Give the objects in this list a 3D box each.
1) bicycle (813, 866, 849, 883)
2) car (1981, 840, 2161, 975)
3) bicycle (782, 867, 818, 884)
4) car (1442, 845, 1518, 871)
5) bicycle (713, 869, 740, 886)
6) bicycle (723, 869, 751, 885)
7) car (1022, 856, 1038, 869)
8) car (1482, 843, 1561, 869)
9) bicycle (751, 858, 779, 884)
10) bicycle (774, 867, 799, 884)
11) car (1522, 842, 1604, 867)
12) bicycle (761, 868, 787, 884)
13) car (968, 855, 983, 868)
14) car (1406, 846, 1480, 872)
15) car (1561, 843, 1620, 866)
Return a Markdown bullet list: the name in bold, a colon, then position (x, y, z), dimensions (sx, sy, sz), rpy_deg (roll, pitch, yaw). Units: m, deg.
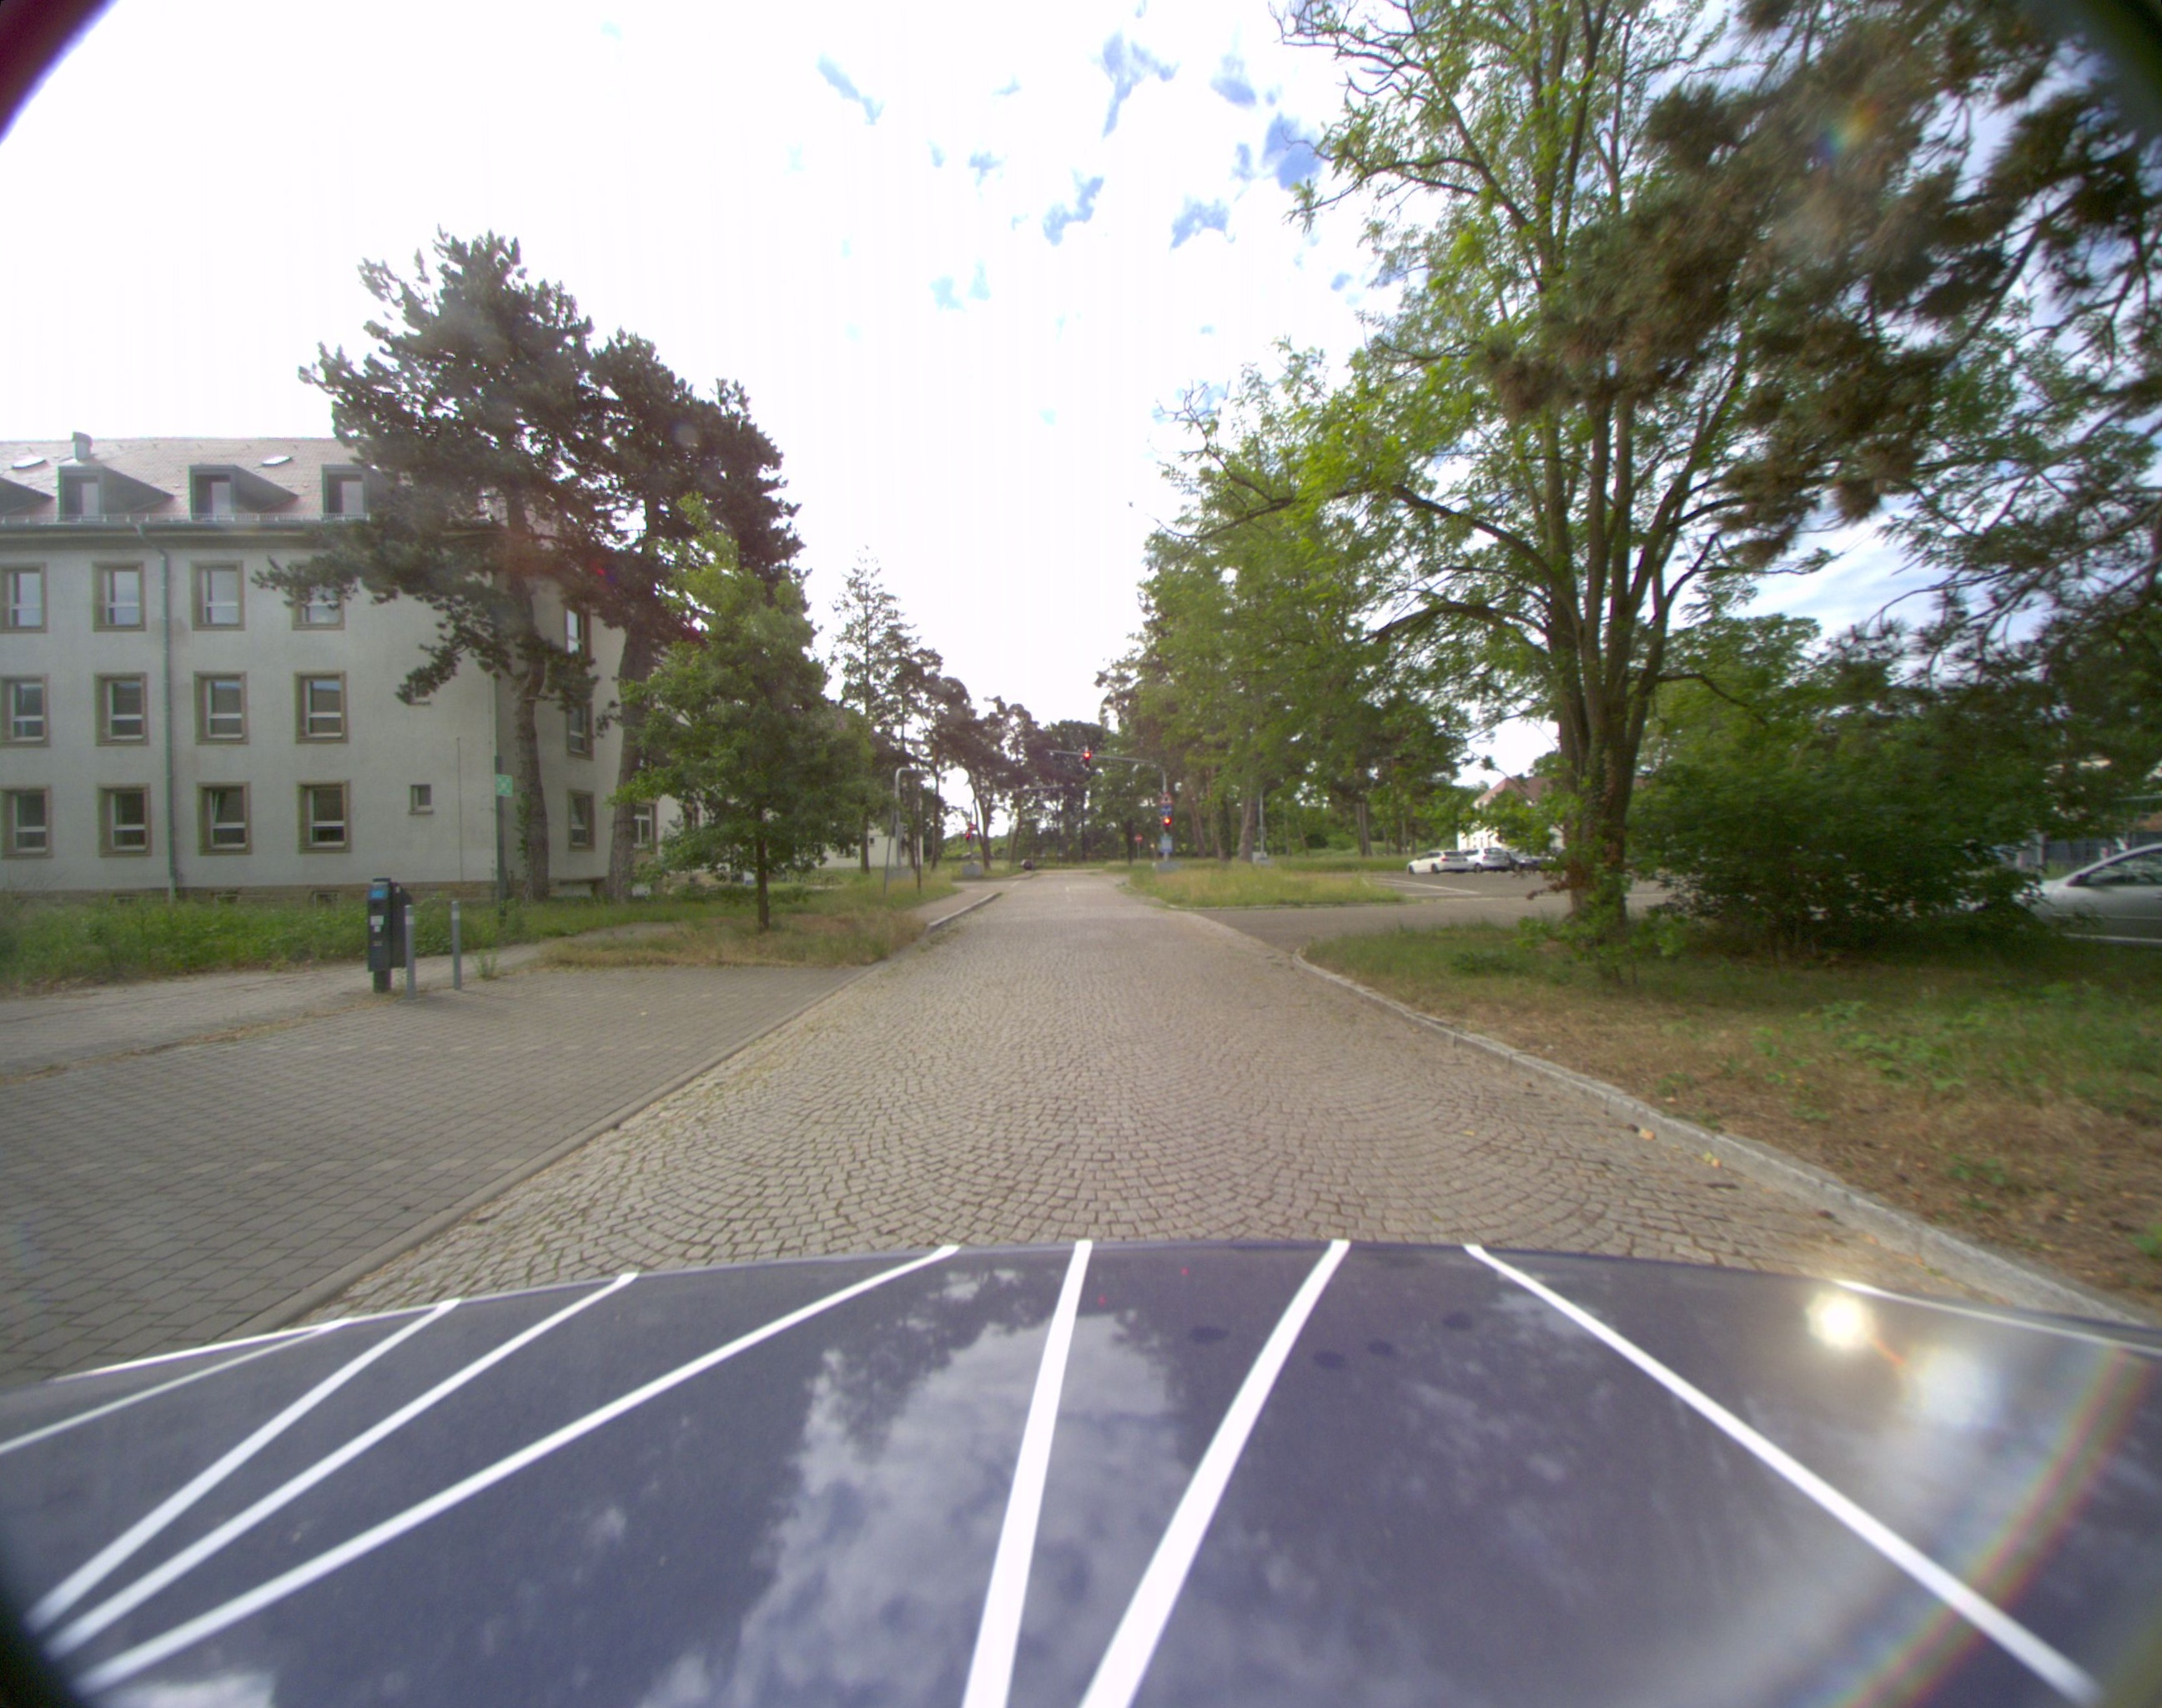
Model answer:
- **bicycle**: position (-16.821, 1.368, 51.121), dimensions (2.165, 1.088, 0.717), rpy_deg (-1, 1, -4)
- **car**: position (12.206, 0.554, 7.696), dimensions (1.670, 1.402, 3.722), rpy_deg (-1, 0, -3)
- **bicycle**: position (-18.903, 1.449, 51.138), dimensions (2.165, 1.051, 0.717), rpy_deg (-1, 1, -4)
- **car**: position (24.085, 0.207, 46.036), dimensions (1.999, 1.441, 4.451), rpy_deg (-1, 0, -4)
- **bicycle**: position (-24.351, 1.598, 52.234), dimensions (0.800, 1.051, 2.166), rpy_deg (-1, 0, 2)
- **bicycle**: position (-23.543, 1.576, 52.045), dimensions (0.800, 1.051, 2.166), rpy_deg (-1, 0, 2)
- **car**: position (-7.266, 1.178, 108.637), dimensions (2.000, 1.777, 3.997), rpy_deg (-1, 0, -7)
- **car**: position (26.665, 0.128, 46.185), dimensions (1.999, 1.441, 4.451), rpy_deg (-1, 0, -4)
- **bicycle**: position (-21.841, 1.181, 52.494), dimensions (0.905, 1.721, 2.199), rpy_deg (-1, 0, 2)
- **bicycle**: position (-20.216, 1.475, 52.186), dimensions (0.800, 1.051, 2.166), rpy_deg (-1, 0, 2)
- **car**: position (29.536, 0.035, 46.770), dimensions (1.999, 1.441, 4.451), rpy_deg (-1, 0, -4)
- **bicycle**: position (-21.065, 1.497, 52.178), dimensions (0.800, 1.051, 2.199), rpy_deg (-1, 0, 2)
- **car**: position (-14.947, 1.003, 107.418), dimensions (2.000, 1.777, 3.997), rpy_deg (-1, 0, -7)
- **car**: position (21.588, 0.289, 45.507), dimensions (1.999, 1.441, 4.451), rpy_deg (-1, 0, -4)
- **car**: position (38.188, 0.023, 57.082), dimensions (1.611, 1.674, 3.802), rpy_deg (-1, 0, -6)
